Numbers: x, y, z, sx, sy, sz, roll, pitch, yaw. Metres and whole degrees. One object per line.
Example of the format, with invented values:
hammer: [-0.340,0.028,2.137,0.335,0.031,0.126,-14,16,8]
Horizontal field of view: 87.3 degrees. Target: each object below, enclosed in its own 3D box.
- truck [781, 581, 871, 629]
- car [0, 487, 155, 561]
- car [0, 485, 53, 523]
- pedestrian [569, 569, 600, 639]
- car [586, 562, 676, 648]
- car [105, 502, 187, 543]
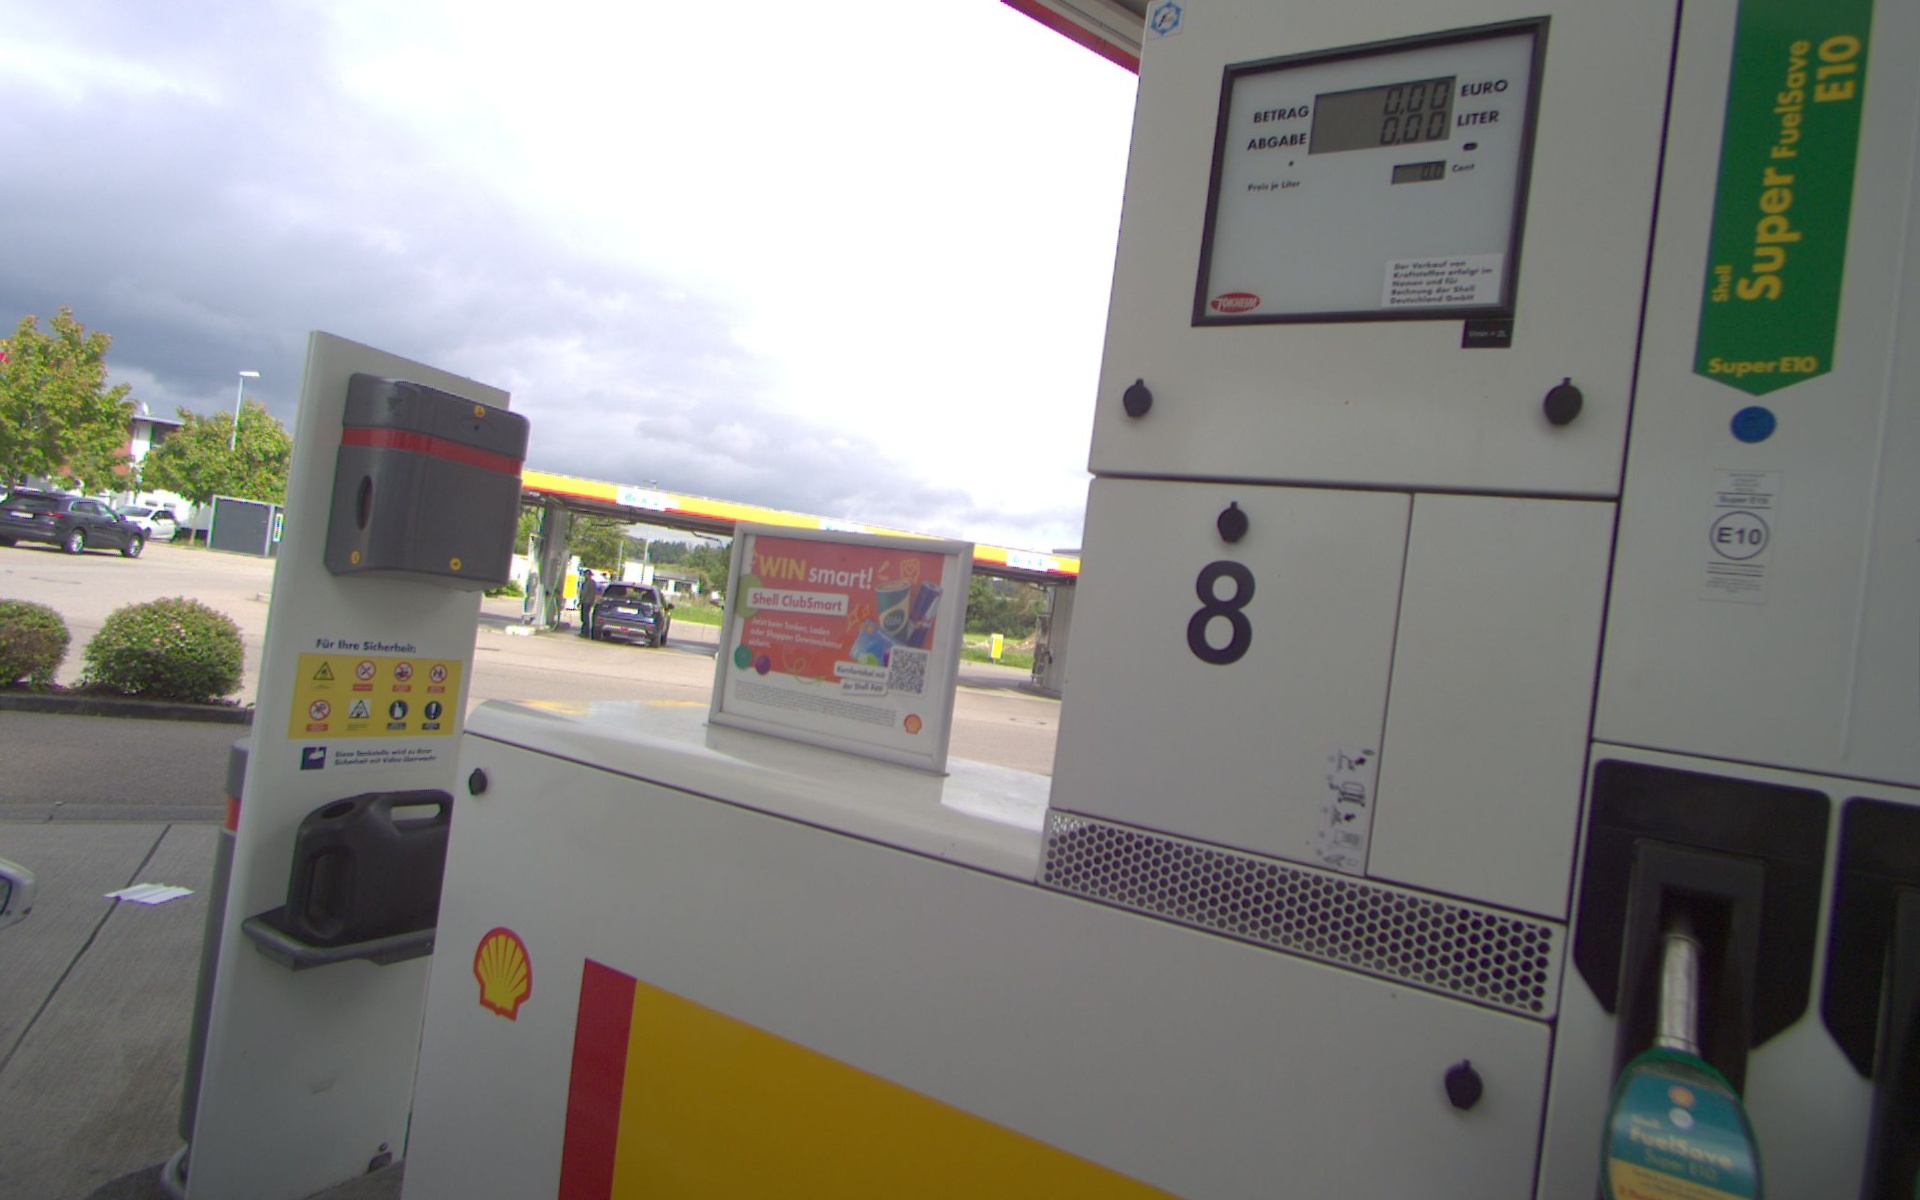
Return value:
truck: [-13.016,0.534,97.526,7.978,3.575,2.687,8,-2,-19]
car: [-25.935,-2.168,29.280,1.855,1.566,4.498,8,-2,-10]
car: [-57.364,-5.908,60.263,2.149,1.854,4.870,8,-2,-11]
pedestrian: [-9.730,0.093,26.088,0.550,1.742,0.526,7,-1,-21]
car: [-8.703,0.148,26.881,1.696,1.919,3.800,8,-2,-12]
car: [-35.264,-3.343,43.666,1.346,1.322,3.098,8,-2,-12]
